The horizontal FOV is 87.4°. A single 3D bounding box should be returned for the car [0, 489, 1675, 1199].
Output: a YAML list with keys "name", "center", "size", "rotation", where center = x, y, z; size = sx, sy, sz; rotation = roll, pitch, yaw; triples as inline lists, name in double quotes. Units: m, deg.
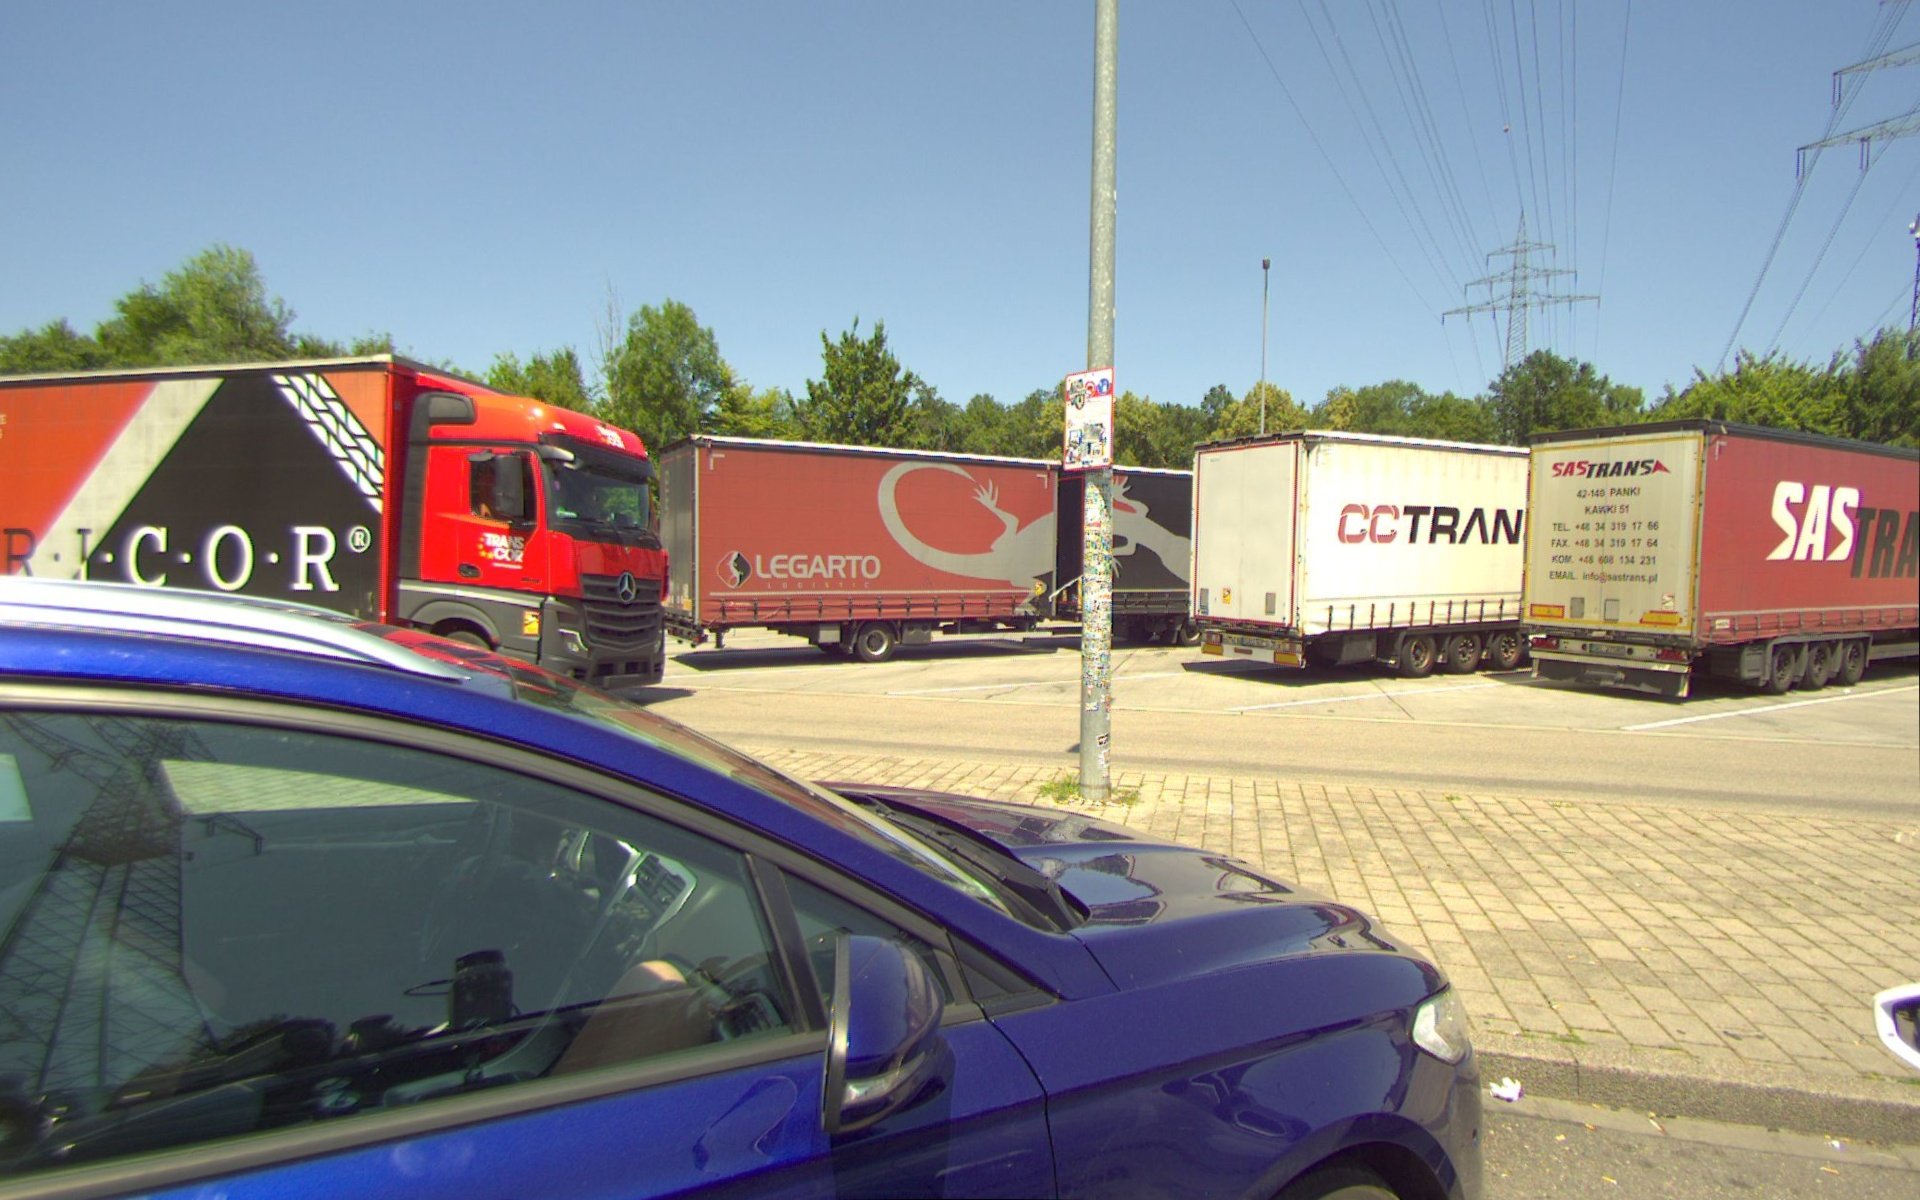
- name: "car"
  center: [-1.017, 0.654, 1.464]
  size: [4.419, 1.485, 1.765]
  rotation: [0, 1, -32]

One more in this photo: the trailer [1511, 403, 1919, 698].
- name: "trailer"
  center: [15.330, -0.673, 18.529]
  size: [13.129, 4.112, 2.736]
  rotation: [0, 1, -31]

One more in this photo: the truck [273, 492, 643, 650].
- name: "truck"
  center: [-11.239, -0.609, 23.049]
  size: [7.265, 3.170, 2.352]
  rotation: [0, 1, -30]

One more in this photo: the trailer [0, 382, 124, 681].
- name: "trailer"
  center: [-17.892, -1.037, 15.898]
  size: [8.510, 4.315, 2.844]
  rotation: [1, 0, 16]

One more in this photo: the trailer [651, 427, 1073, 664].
- name: "trailer"
  center: [-1.798, -0.921, 20.309]
  size: [8.158, 4.027, 2.651]
  rotation: [0, 1, -30]

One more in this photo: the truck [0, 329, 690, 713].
- name: "truck"
  center: [-9.017, -0.913, 13.473]
  size: [10.390, 4.183, 2.695]
  rotation: [1, 0, 14]

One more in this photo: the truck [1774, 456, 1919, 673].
- name: "truck"
  center: [20.811, -0.677, 21.771]
  size: [6.749, 4.136, 2.729]
  rotation: [0, 1, -31]

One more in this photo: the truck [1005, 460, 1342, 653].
- name: "truck"
  center: [5.394, -0.914, 24.582]
  size: [8.534, 4.073, 2.624]
  rotation: [0, 1, -30]

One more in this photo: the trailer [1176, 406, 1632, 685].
- name: "trailer"
  center: [8.704, -0.832, 19.106]
  size: [9.614, 4.321, 2.733]
  rotation: [0, 1, -29]
